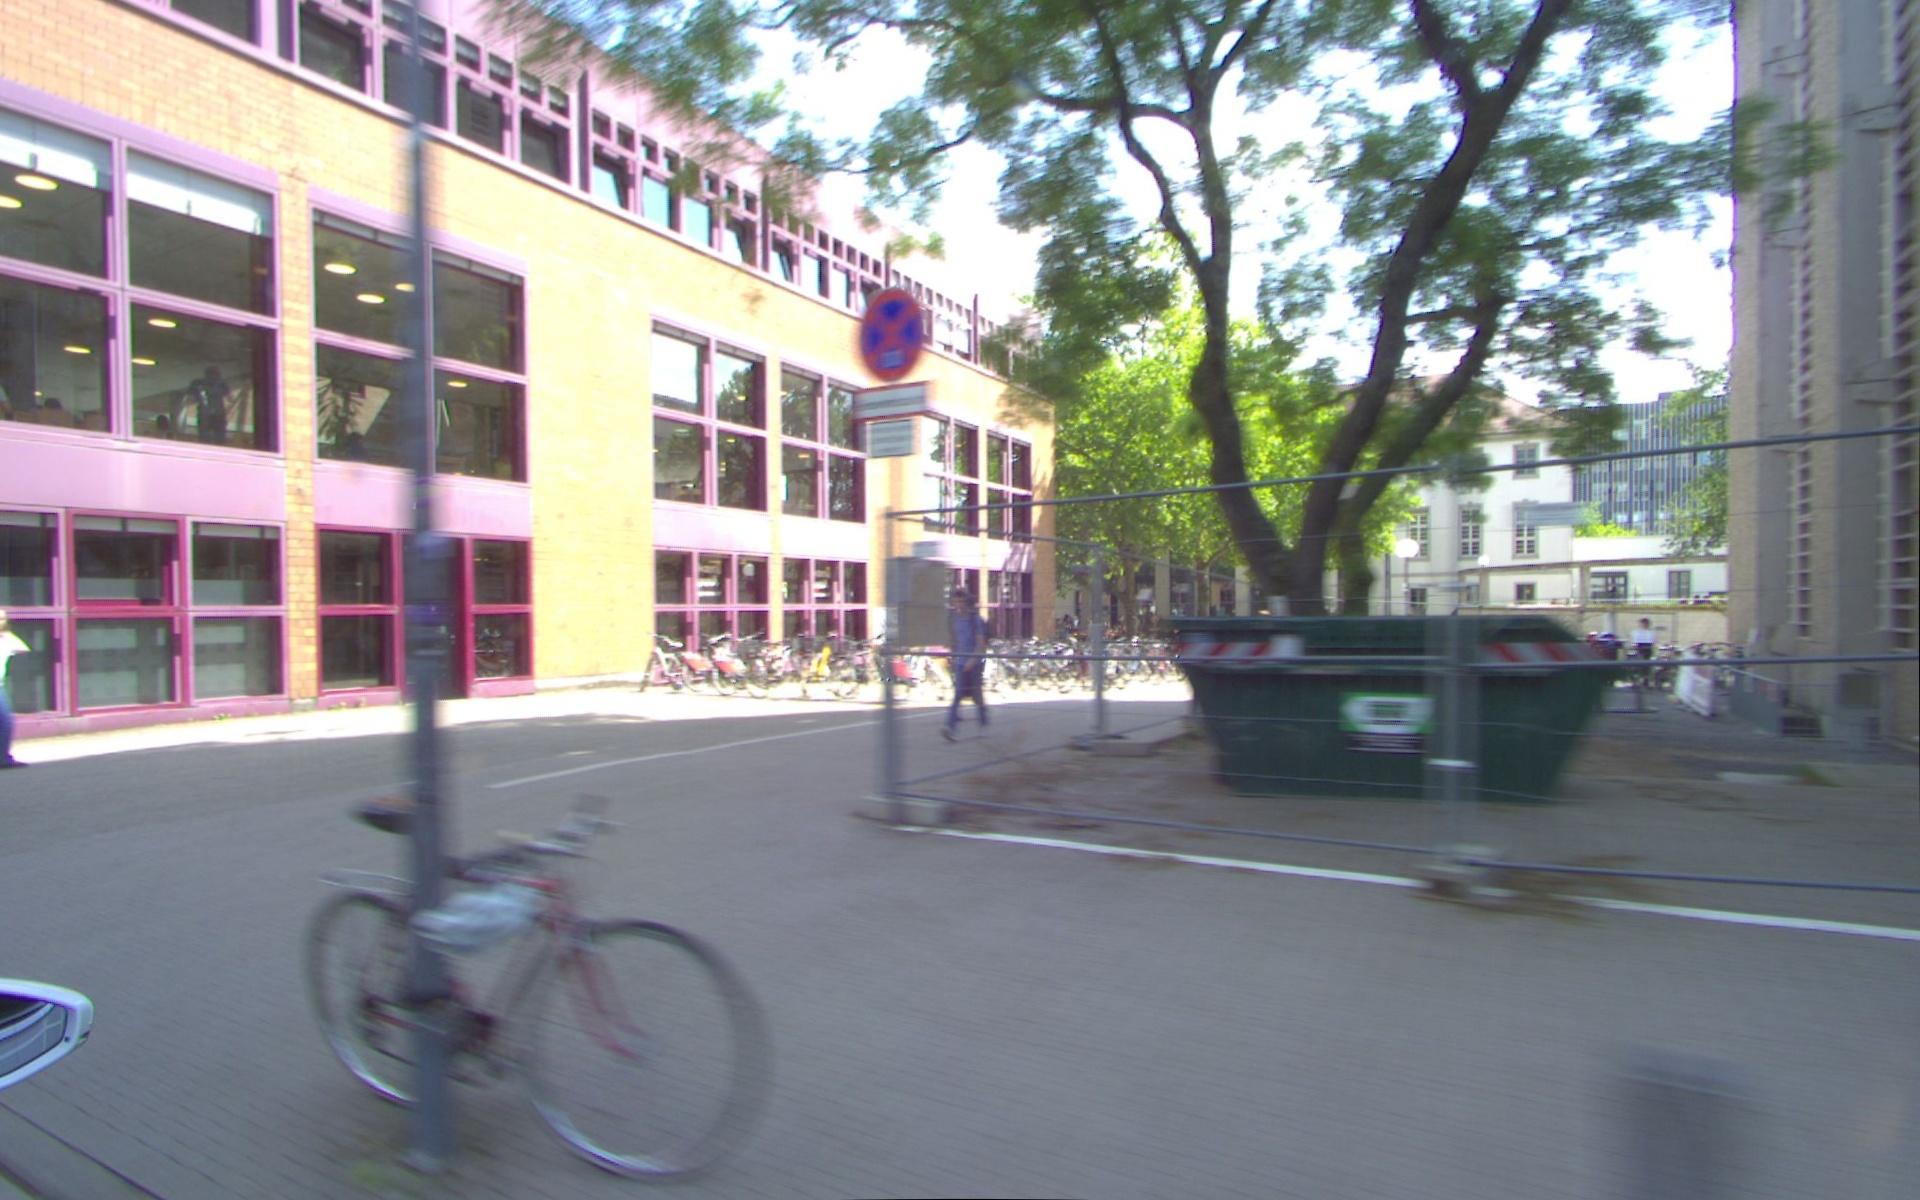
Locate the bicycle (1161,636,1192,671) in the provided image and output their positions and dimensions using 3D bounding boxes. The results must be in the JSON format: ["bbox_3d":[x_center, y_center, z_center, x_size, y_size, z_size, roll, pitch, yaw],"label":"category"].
[{"bbox_3d":[7.572,1.841,35.021,0.537,1.184,1.995,0,-2,28],"label":"bicycle"}]

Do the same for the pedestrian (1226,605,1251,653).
[{"bbox_3d":[10.181,1.056,36.660,0.671,1.750,0.905,1,0,3],"label":"pedestrian"}]

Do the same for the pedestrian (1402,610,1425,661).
[{"bbox_3d":[16.142,1.253,35.652,0.674,1.750,0.902,-3,-1,25],"label":"pedestrian"}]

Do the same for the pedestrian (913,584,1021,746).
[{"bbox_3d":[0.085,0.687,10.972,0.694,1.672,1.041,-1,-1,37],"label":"pedestrian"}]

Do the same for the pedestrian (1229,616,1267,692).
[{"bbox_3d":[6.904,1.276,23.950,0.674,1.750,0.902,-3,-1,25],"label":"pedestrian"}]

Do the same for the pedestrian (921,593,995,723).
[{"bbox_3d":[-0.015,0.754,13.361,0.581,1.672,0.849,-1,-1,37],"label":"pedestrian"}]

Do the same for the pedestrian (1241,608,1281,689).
[{"bbox_3d":[6.693,1.063,22.247,0.674,1.750,0.902,-3,-1,25],"label":"pedestrian"}]

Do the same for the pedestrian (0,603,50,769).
[{"bbox_3d":[-9.436,0.822,9.596,0.733,1.563,0.882,1,3,37],"label":"pedestrian"}]

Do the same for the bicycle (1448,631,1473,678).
[{"bbox_3d":[13.170,1.405,26.333,0.537,1.184,1.995,0,-2,28],"label":"bicycle"}]

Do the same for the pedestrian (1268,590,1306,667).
[{"bbox_3d":[7.700,0.657,23.570,0.674,1.750,0.902,-3,-1,25],"label":"pedestrian"}]

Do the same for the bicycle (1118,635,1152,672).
[{"bbox_3d":[5.831,1.754,33.296,0.537,1.184,1.995,0,-2,28],"label":"bicycle"}]

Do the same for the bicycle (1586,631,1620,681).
[{"bbox_3d":[15.884,1.359,24.763,0.537,1.184,1.995,0,-2,28],"label":"bicycle"}]

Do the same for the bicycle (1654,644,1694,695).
[{"bbox_3d":[17.194,1.650,24.145,0.537,1.184,1.995,0,-2,28],"label":"bicycle"}]

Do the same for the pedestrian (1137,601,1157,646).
[{"bbox_3d":[7.864,0.986,42.128,0.672,1.846,0.904,-3,-1,14],"label":"pedestrian"}]

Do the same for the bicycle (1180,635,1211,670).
[{"bbox_3d":[8.135,1.807,34.582,0.537,1.184,1.995,0,-2,28],"label":"bicycle"}]

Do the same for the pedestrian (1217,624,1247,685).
[{"bbox_3d":[8.105,1.604,29.817,0.674,1.750,0.902,-3,-1,25],"label":"pedestrian"}]

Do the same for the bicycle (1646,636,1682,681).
[{"bbox_3d":[19.033,1.563,27.090,0.537,1.184,2.060,0,-2,28],"label":"bicycle"}]

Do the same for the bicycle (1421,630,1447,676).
[{"bbox_3d":[12.629,1.401,26.658,0.537,1.184,1.995,0,-2,28],"label":"bicycle"}]

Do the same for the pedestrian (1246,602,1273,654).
[{"bbox_3d":[10.972,1.019,36.663,0.671,1.846,0.905,-3,-1,3],"label":"pedestrian"}]

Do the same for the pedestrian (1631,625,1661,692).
[{"bbox_3d":[16.860,1.429,24.625,0.555,1.634,0.530,0,-1,30],"label":"pedestrian"}]

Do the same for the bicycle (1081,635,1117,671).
[{"bbox_3d":[4.736,1.778,33.968,0.537,1.184,1.995,0,-2,28],"label":"bicycle"}]

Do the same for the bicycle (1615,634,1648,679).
[{"bbox_3d":[18.396,1.533,27.460,0.537,1.184,1.995,0,-2,28],"label":"bicycle"}]

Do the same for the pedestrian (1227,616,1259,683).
[{"bbox_3d":[7.648,1.325,27.029,0.673,1.750,0.902,-3,-1,22],"label":"pedestrian"}]

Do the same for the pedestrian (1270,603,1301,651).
[{"bbox_3d":[12.929,1.089,39.745,0.674,1.846,0.902,-2,-1,-25],"label":"pedestrian"}]

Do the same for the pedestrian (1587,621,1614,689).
[{"bbox_3d":[15.834,1.345,24.765,0.525,1.651,0.560,0,-1,30],"label":"pedestrian"}]

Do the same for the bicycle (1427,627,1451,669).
[{"bbox_3d":[14.125,1.405,29.520,0.537,1.184,1.995,0,-2,28],"label":"bicycle"}]

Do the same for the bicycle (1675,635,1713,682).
[{"bbox_3d":[19.573,1.537,26.730,0.537,1.184,2.060,0,-2,28],"label":"bicycle"}]

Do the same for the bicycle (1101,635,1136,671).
[{"bbox_3d":[5.348,1.762,33.636,0.537,1.184,1.995,0,-2,28],"label":"bicycle"}]

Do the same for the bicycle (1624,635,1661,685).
[{"bbox_3d":[16.639,1.440,24.433,0.537,1.184,1.995,0,-2,28],"label":"bicycle"}]

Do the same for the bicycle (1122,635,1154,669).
[{"bbox_3d":[6.342,1.840,35.629,0.537,1.184,1.995,0,-2,28],"label":"bicycle"}]

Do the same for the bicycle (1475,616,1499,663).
[{"bbox_3d":[13.711,1.029,26.047,0.537,1.184,1.995,0,-2,28],"label":"bicycle"}]

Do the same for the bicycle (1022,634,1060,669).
[{"bbox_3d":[2.850,1.802,35.068,0.537,1.184,1.995,0,-2,28],"label":"bicycle"}]

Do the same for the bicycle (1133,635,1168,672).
[{"bbox_3d":[6.285,1.742,32.983,0.537,1.184,1.995,0,-2,28],"label":"bicycle"}]

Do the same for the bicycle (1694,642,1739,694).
[{"bbox_3d":[17.822,1.577,23.619,0.537,1.184,1.995,0,-2,28],"label":"bicycle"}]

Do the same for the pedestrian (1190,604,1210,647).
[{"bbox_3d":[10.575,1.128,44.176,0.671,1.846,0.904,-3,-1,8],"label":"pedestrian"}]

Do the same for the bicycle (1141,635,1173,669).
[{"bbox_3d":[6.981,1.822,35.407,0.537,1.184,1.995,0,-2,28],"label":"bicycle"}]

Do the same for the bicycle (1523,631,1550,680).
[{"bbox_3d":[14.700,1.394,25.546,0.537,1.184,1.995,0,-2,28],"label":"bicycle"}]
